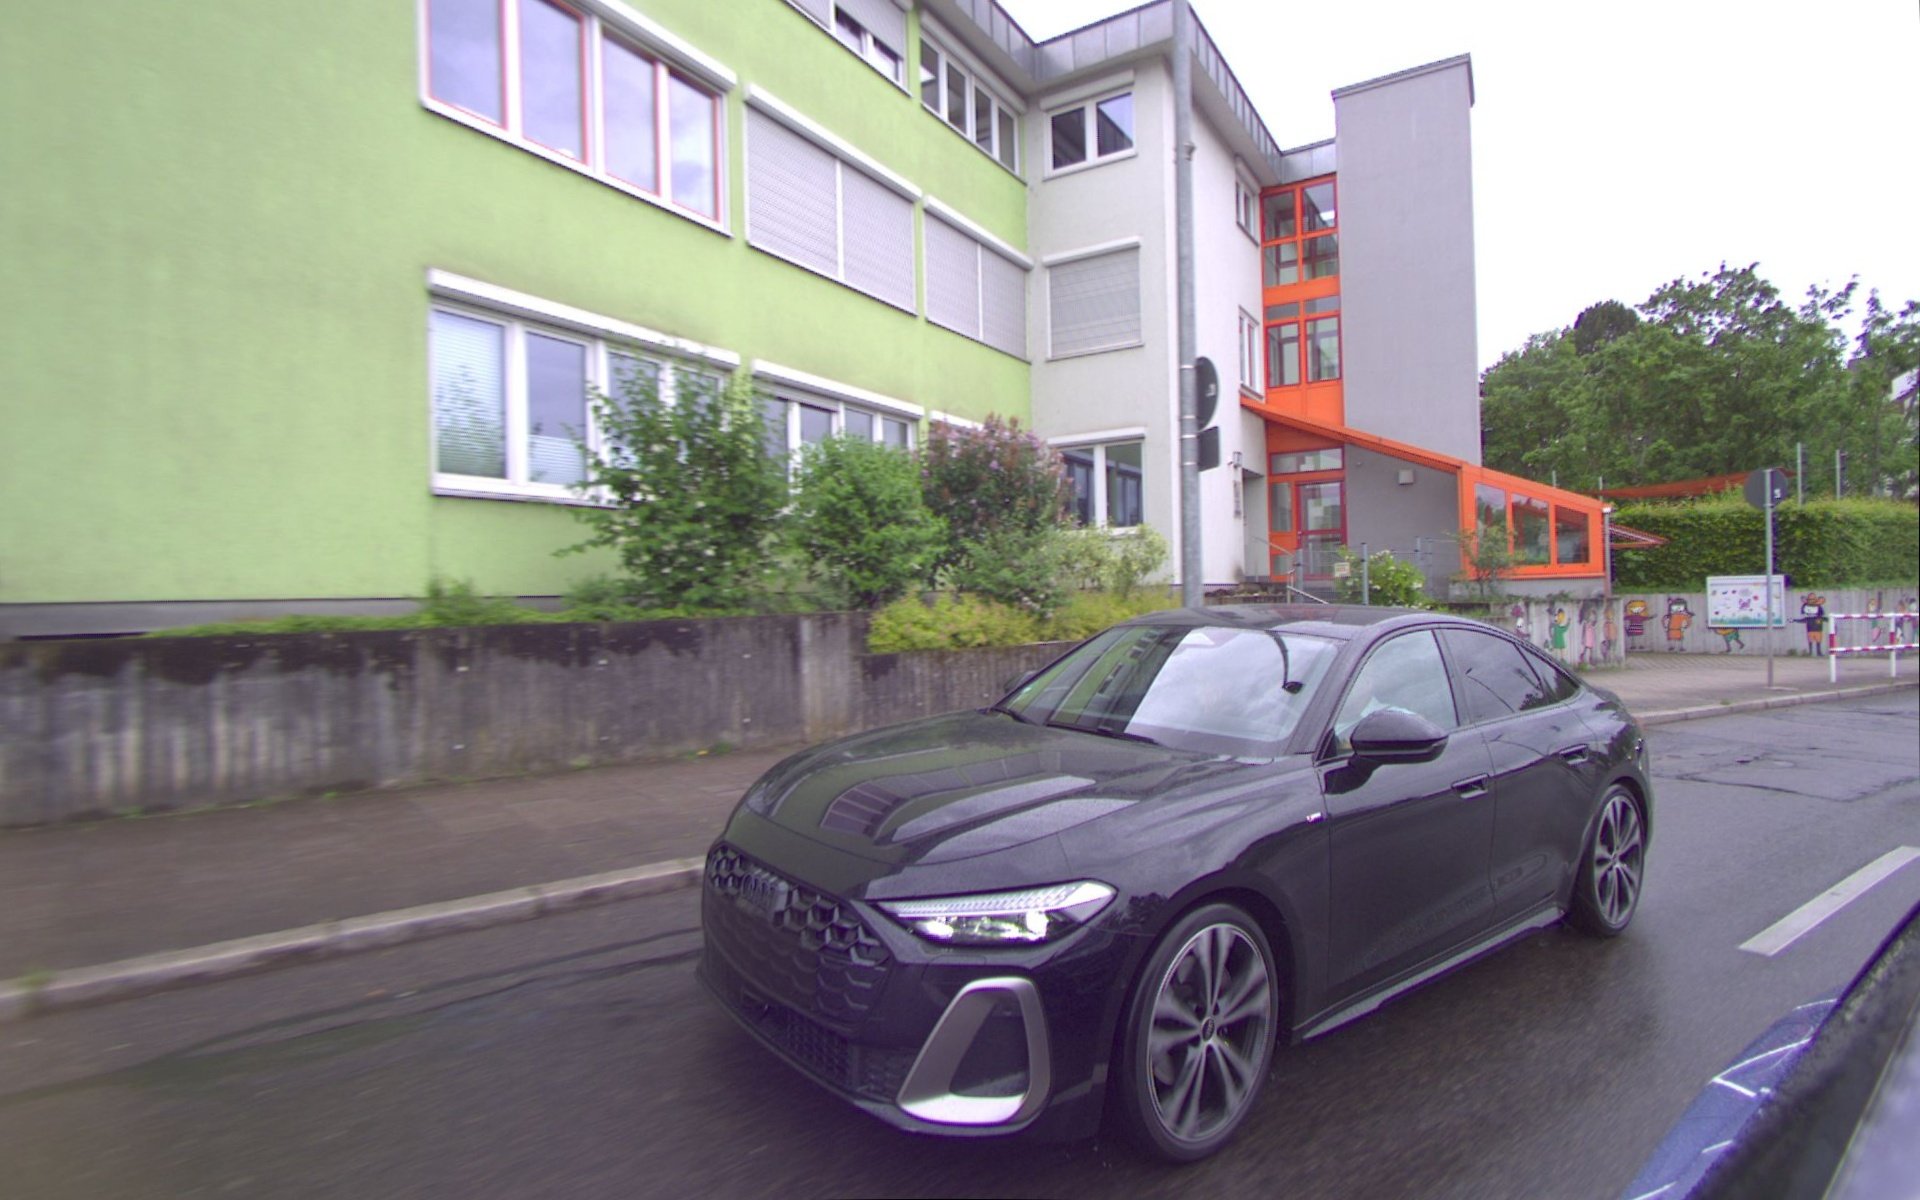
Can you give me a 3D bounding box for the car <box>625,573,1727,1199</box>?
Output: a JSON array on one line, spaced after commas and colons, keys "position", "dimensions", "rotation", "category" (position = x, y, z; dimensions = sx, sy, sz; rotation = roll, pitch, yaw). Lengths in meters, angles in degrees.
[{"position": [1.263, 0.690, 4.184], "dimensions": [4.653, 1.442, 1.871], "rotation": [-3, 1, -38], "category": "car"}]
